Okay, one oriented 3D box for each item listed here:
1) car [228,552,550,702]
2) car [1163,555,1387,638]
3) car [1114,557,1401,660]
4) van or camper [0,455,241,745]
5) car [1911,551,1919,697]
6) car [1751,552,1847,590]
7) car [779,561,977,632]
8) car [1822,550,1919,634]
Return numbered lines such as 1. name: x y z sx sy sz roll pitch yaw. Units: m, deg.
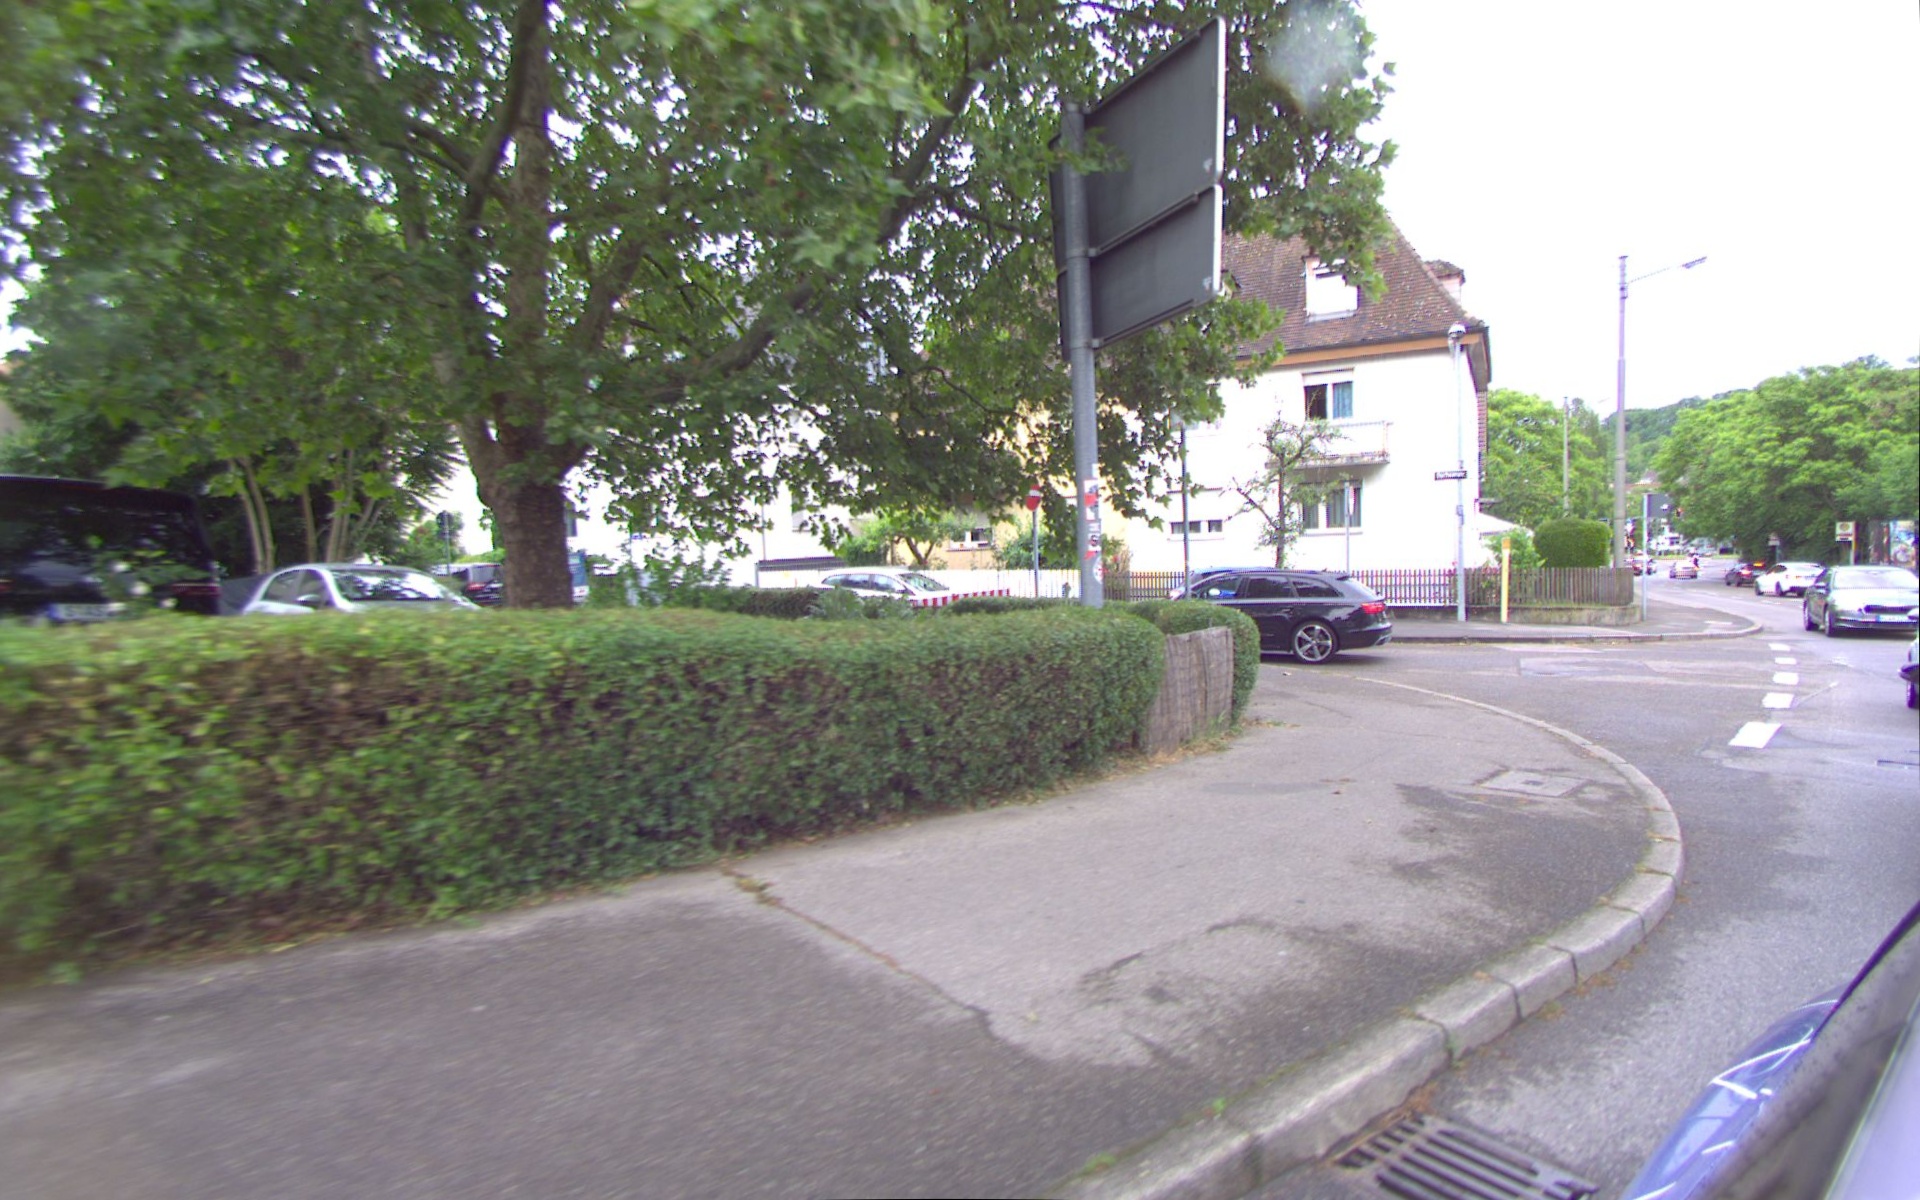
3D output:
1. car: -6.859 0.216 12.030 3.978 1.482 1.973 1 2 38
2. car: 6.150 -0.129 19.783 3.959 1.482 1.845 1 2 26
3. car: 4.964 0.085 16.904 4.349 1.532 1.982 0 1 27
4. van or camper: -8.057 -0.027 8.125 4.286 1.927 1.982 0 1 27
5. car: 10.792 0.280 10.149 1.638 1.577 3.576 1 2 40
6. car: 36.949 -1.265 44.720 1.822 1.577 5.528 0 2 24
7. car: -1.959 -0.118 23.986 4.355 1.532 1.979 0 2 30
8. car: 19.070 -0.205 20.941 1.700 1.577 3.946 1 2 38
